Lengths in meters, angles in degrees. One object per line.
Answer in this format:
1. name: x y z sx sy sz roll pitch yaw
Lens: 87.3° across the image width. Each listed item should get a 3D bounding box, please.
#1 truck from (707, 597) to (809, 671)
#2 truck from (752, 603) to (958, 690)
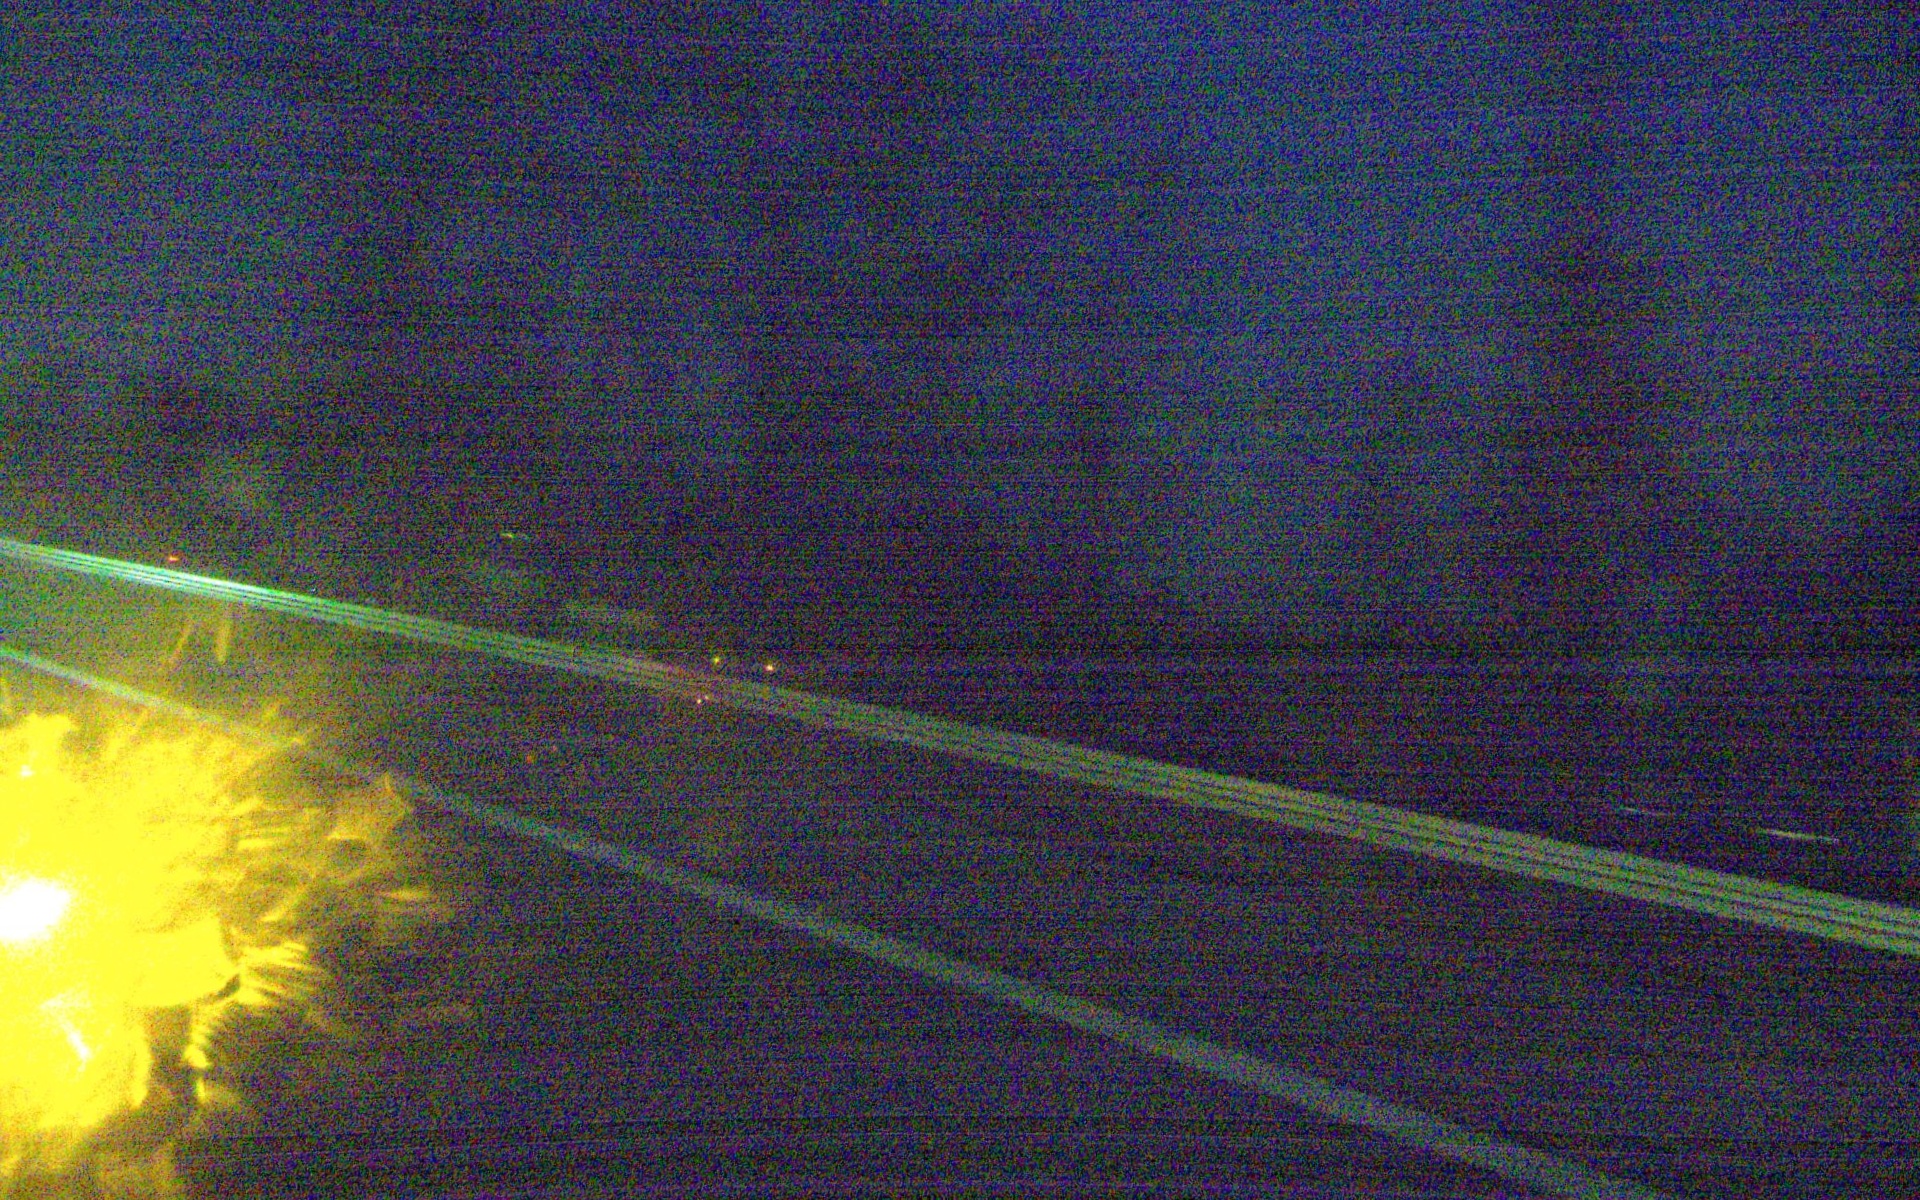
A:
1. truck: -13.888 2.343 69.454 6.081 4.271 2.769 7 -1 -2
2. truck: -7.153 3.197 69.634 13.574 4.271 2.769 7 -1 -2
